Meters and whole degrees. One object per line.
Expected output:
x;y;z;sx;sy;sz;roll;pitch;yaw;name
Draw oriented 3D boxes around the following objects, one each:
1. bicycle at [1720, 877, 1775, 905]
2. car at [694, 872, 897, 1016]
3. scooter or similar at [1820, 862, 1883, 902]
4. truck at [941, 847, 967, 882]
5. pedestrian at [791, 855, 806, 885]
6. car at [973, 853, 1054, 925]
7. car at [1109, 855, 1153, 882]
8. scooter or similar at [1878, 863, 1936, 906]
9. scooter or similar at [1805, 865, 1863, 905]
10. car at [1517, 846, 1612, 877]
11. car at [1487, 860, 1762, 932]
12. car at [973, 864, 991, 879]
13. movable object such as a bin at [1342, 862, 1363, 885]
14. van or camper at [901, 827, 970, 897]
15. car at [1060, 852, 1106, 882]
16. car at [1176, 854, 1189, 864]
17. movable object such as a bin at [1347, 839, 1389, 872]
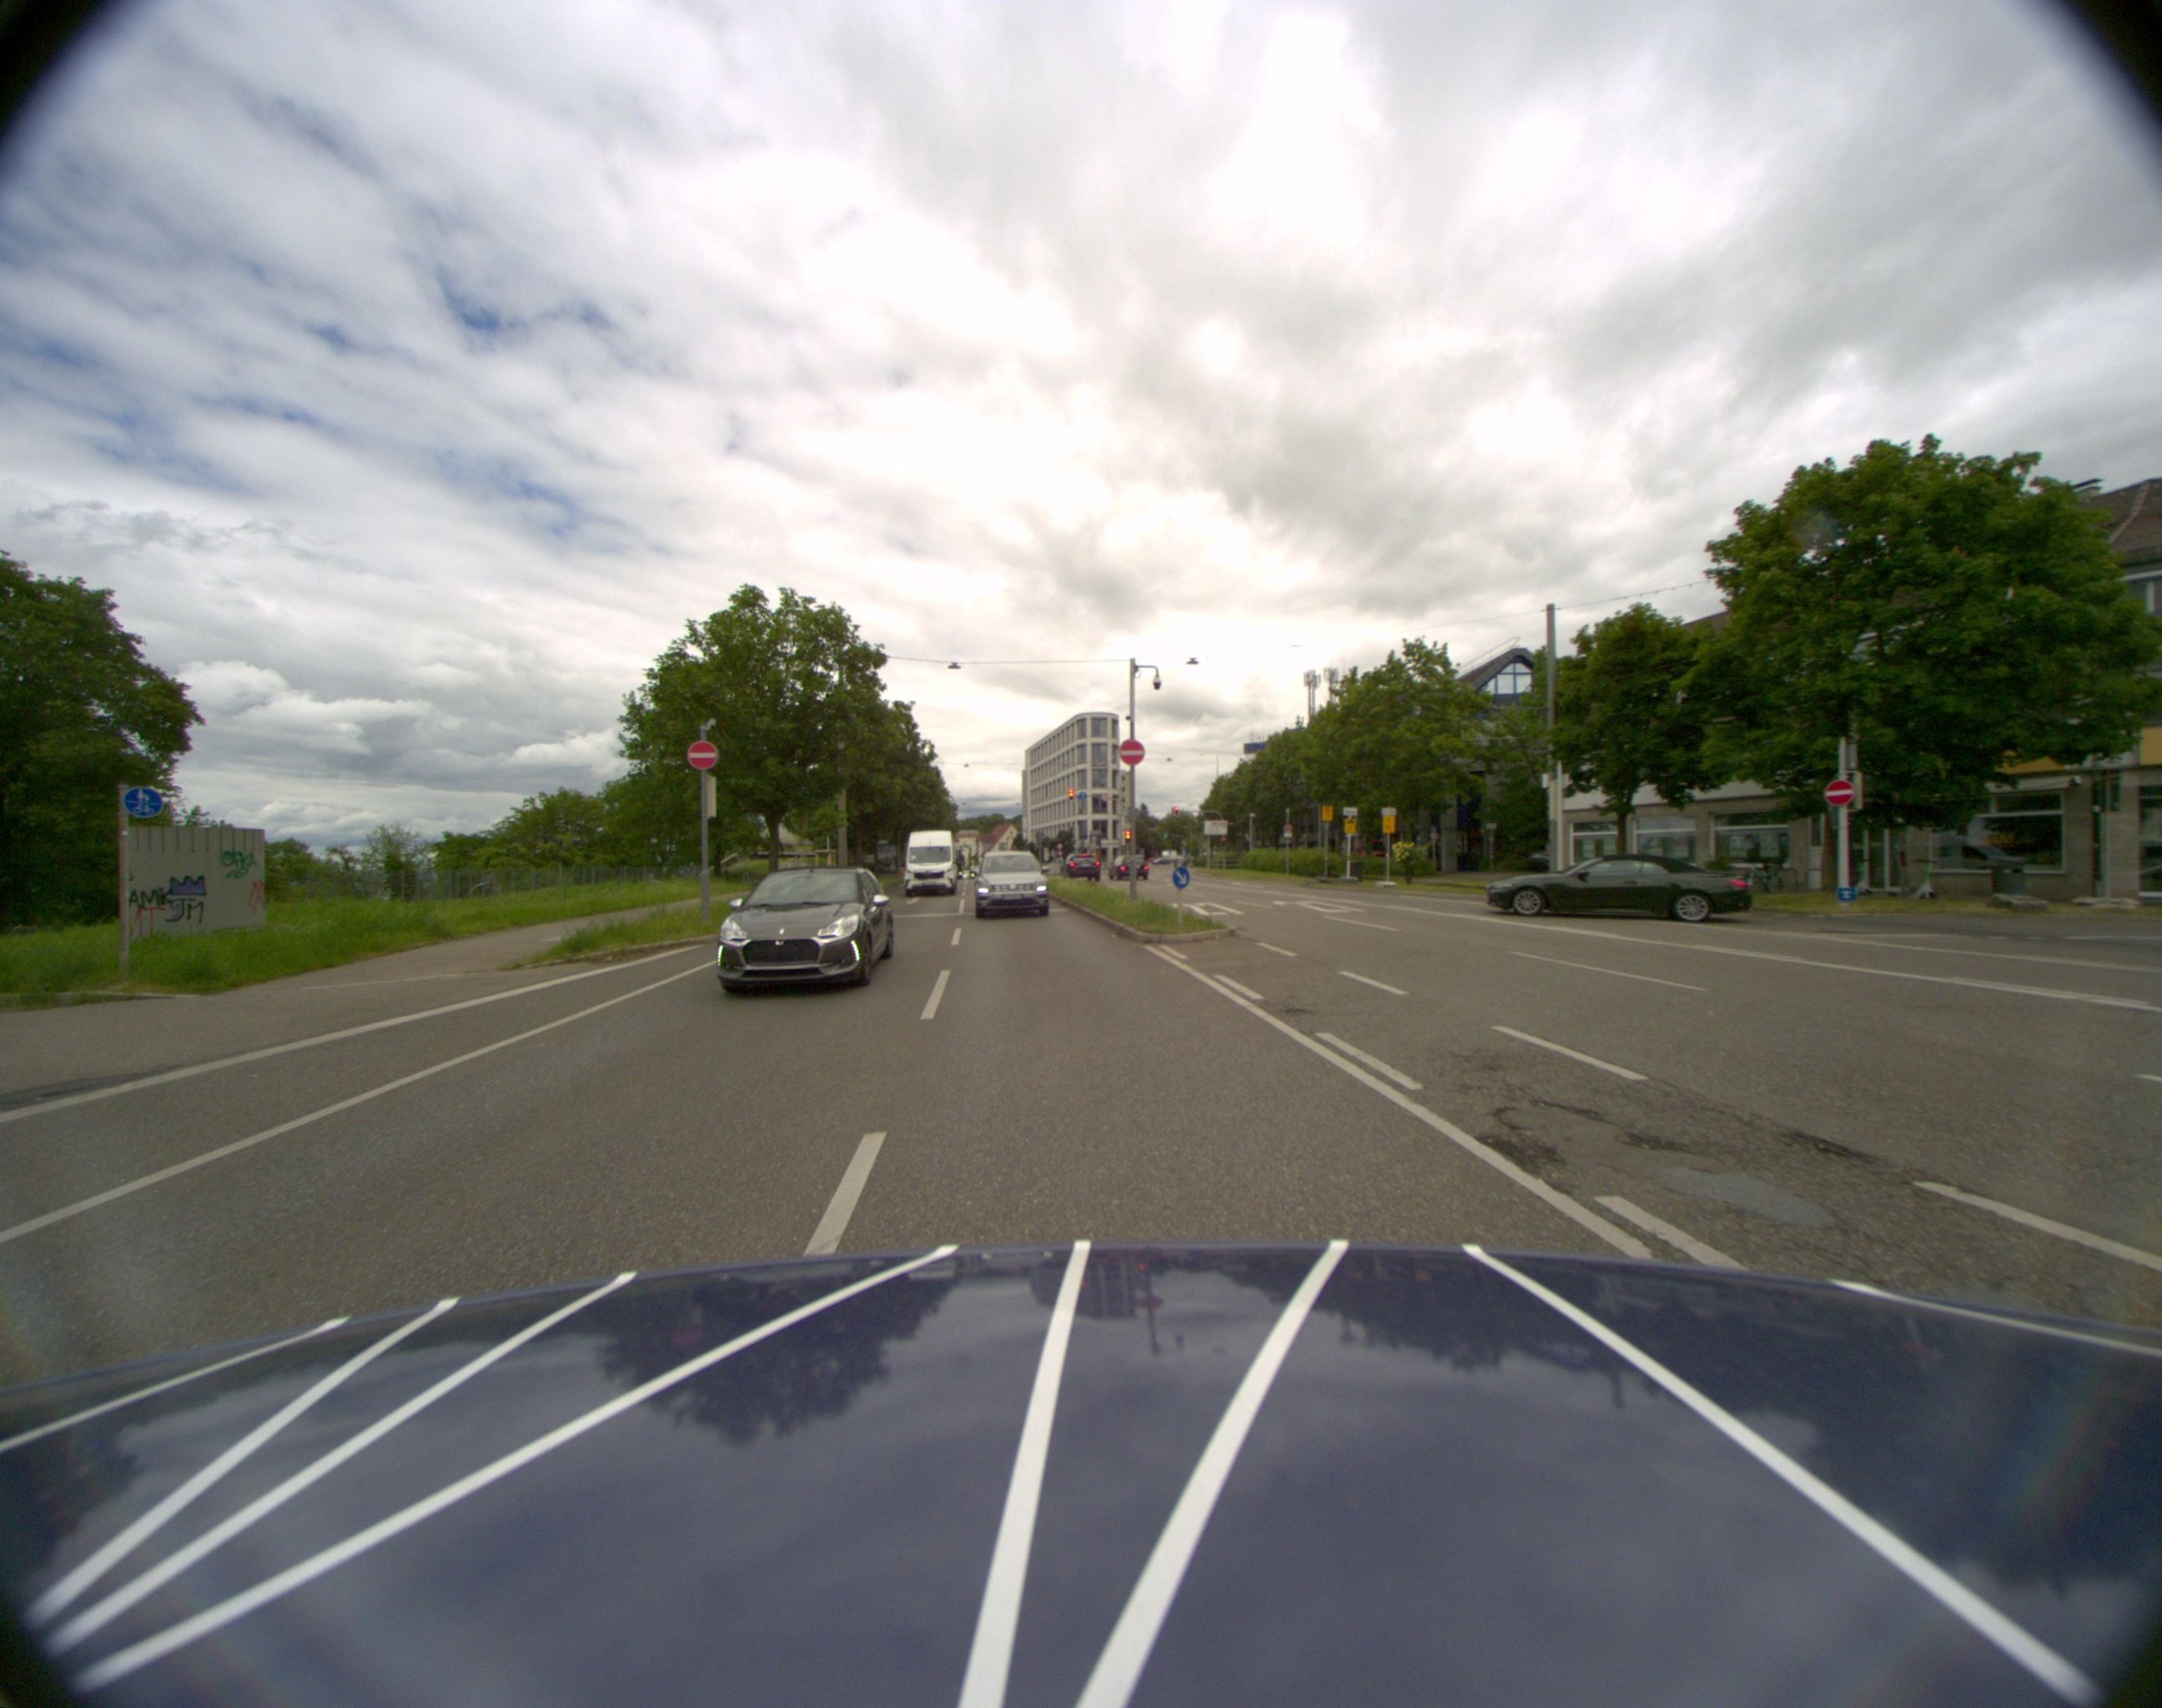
19.436;1.074;22.160;1.262;0.800;0.424;-1;1;-4;bicycle
-3.598;1.018;10.323;1.706;1.452;4.059;-2;0;-8;car
21.666;0.772;21.388;0.603;1.079;1.176;0;0;3;scooter or similar
-15.218;1.275;91.117;2.829;3.902;9.451;-2;0;-9;truck
-15.473;0.857;41.618;0.542;1.594;0.702;4;-1;-5;pedestrian
-1.875;0.850;20.050;1.835;1.636;4.323;-2;0;-8;car
2.881;0.851;44.683;1.788;1.417;4.394;-2;-1;-7;car
21.763;0.790;20.035;0.424;1.079;0.991;0;0;-1;scooter or similar
20.326;0.821;20.539;0.491;1.039;1.177;-1;1;7;scooter or similar
25.167;0.388;39.601;4.003;1.417;1.858;-2;-1;-11;car
11.519;0.820;16.587;4.670;1.372;1.830;0;0;28;car
-10.877;1.914;83.311;1.856;1.520;4.486;-2;-1;-8;car
12.360;0.898;34.598;0.565;1.006;0.838;-1;0;-6;movable object such as a bin
-6.145;0.343;32.869;2.111;2.674;6.297;-2;0;-4;van or camper
0.048;0.774;43.469;1.894;1.555;4.393;-2;-1;-9;car
15.872;0.746;119.418;1.787;1.528;4.397;-1;0;5;car
22.392;0.090;59.526;1.909;2.517;4.127;-1;1;3;movable object such as a bin
